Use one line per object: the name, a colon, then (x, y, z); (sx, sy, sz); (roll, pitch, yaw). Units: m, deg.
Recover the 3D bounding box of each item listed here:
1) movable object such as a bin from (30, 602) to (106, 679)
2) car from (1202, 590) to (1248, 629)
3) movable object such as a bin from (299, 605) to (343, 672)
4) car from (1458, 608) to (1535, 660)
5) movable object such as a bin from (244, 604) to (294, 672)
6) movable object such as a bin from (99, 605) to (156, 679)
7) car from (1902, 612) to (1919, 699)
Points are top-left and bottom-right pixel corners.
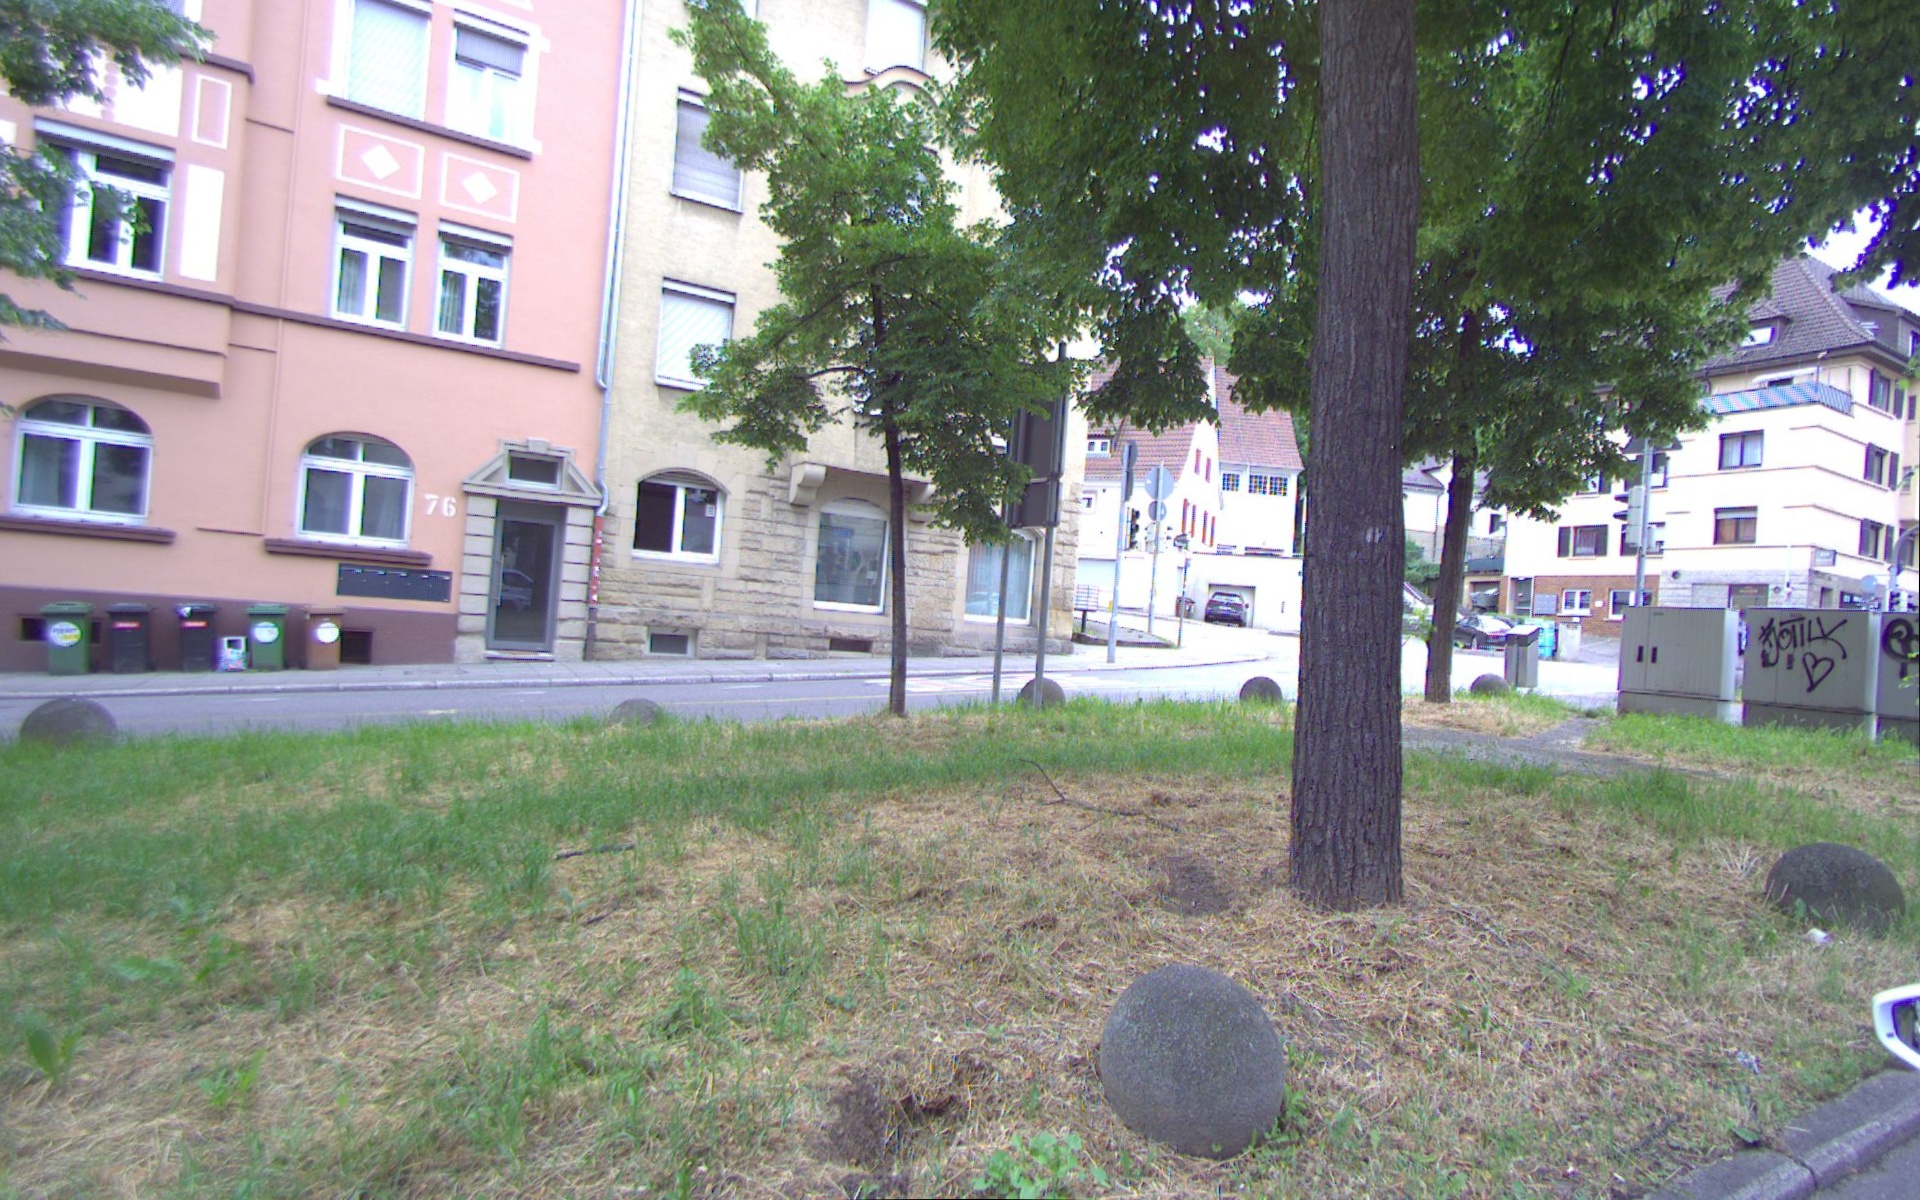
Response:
movable object such as a bin: (-11.656, 0.520, 13.140); (0.611, 0.961, 0.613); (2, 0, -31)
car: (11.764, 0.380, 44.797); (1.638, 1.424, 3.058); (7, 3, 11)
movable object such as a bin: (-9.273, 0.546, 14.569); (0.510, 0.934, 0.752); (2, 0, -34)
car: (21.898, 1.336, 41.135); (1.832, 1.619, 3.519); (2, 6, 13)
movable object such as a bin: (-9.798, 0.529, 14.247); (0.554, 0.934, 0.649); (2, 0, -34)
movable object such as a bin: (-11.161, 0.553, 13.473); (0.528, 0.958, 0.576); (2, 0, -36)
car: (18.912, 1.078, 16.918); (1.651, 1.541, 4.206); (2, 0, -37)
